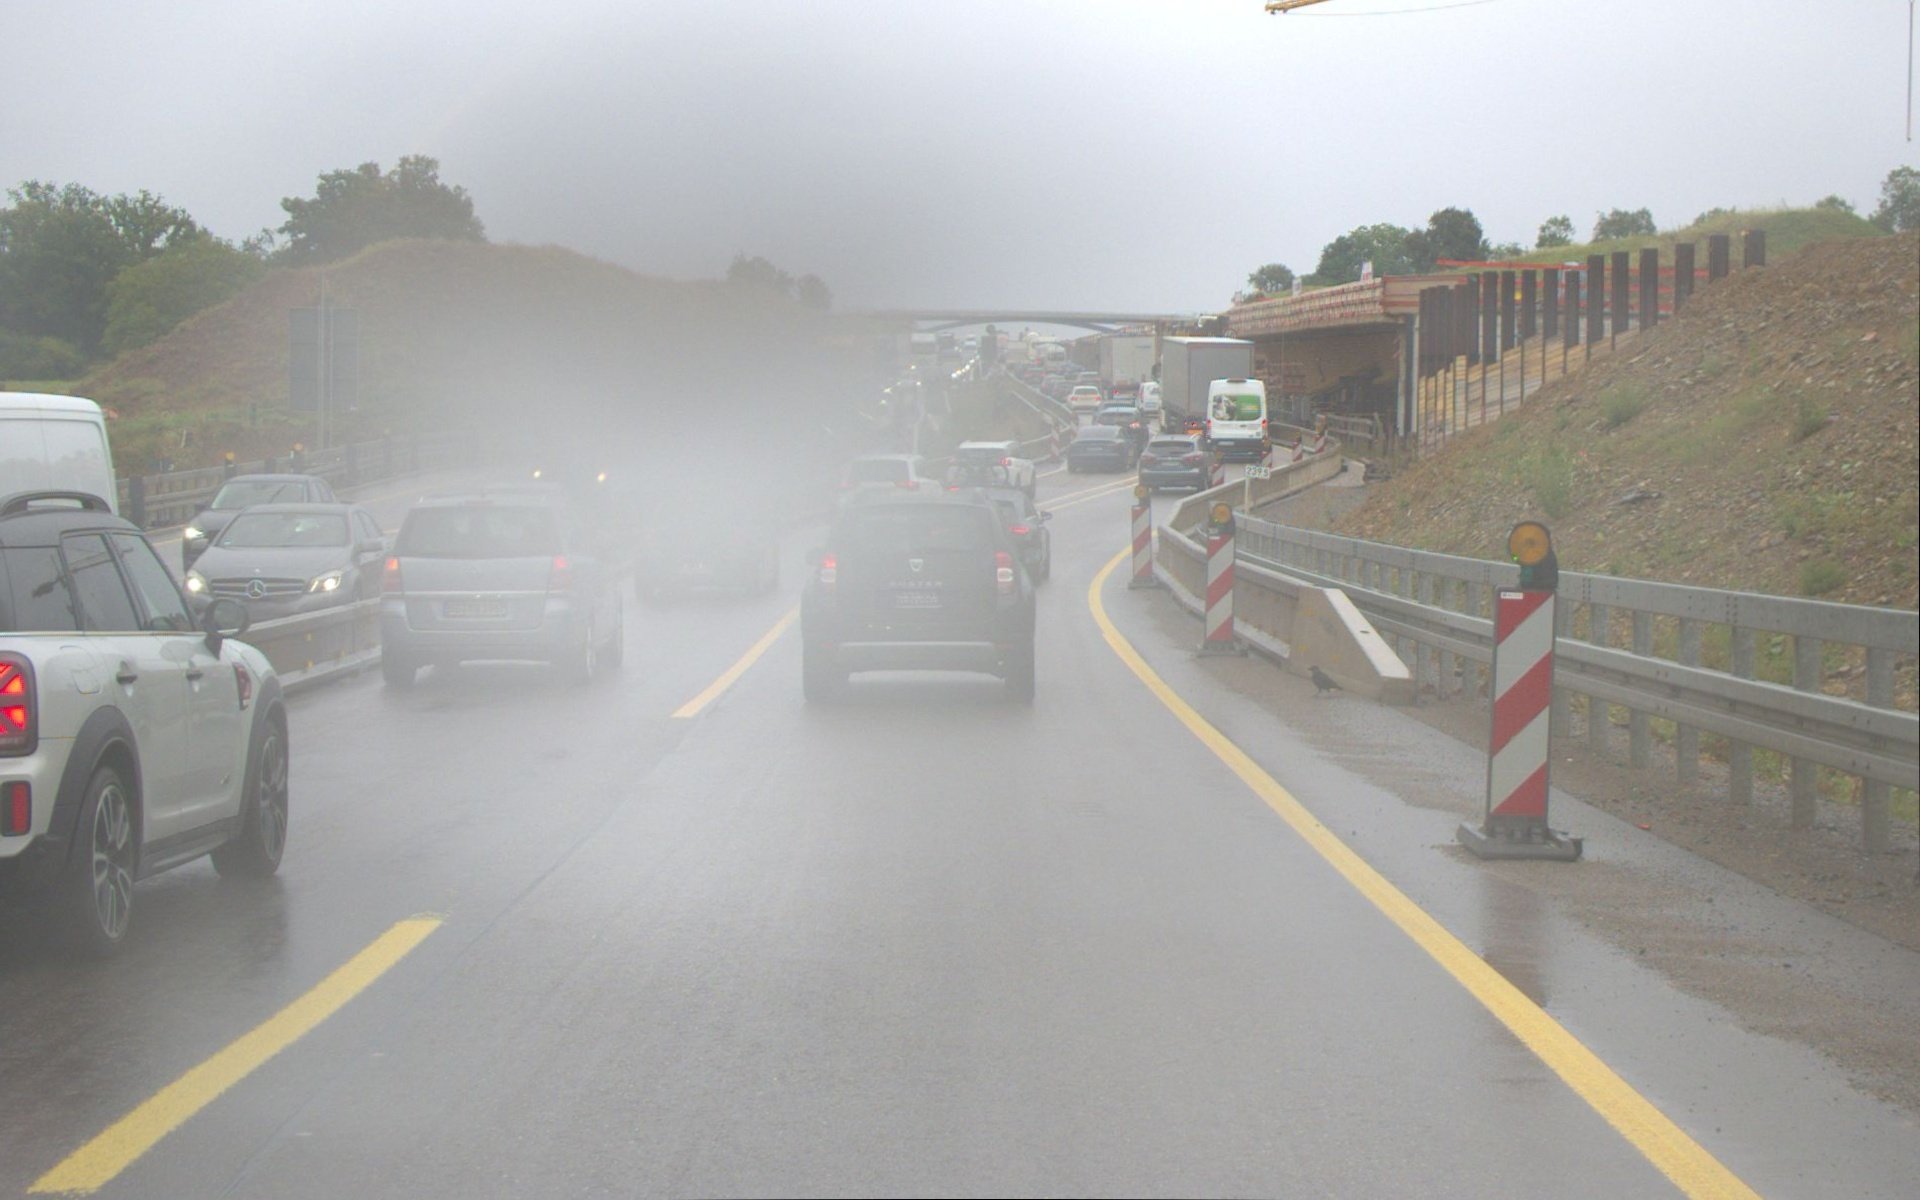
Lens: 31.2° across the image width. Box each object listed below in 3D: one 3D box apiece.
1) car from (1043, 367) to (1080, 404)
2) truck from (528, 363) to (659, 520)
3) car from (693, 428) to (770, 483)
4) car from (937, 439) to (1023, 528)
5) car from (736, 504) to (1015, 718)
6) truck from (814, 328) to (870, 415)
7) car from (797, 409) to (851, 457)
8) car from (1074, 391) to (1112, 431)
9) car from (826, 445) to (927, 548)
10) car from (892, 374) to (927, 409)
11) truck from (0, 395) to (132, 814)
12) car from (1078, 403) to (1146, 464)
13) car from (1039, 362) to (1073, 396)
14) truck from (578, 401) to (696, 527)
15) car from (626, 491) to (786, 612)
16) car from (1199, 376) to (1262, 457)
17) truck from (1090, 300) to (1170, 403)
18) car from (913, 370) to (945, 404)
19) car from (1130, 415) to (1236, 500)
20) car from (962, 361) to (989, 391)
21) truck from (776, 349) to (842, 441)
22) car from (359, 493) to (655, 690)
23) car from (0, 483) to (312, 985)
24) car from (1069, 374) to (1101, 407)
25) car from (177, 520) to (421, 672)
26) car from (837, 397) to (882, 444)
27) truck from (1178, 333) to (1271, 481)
[{"bbox_3d":[5.758,-12.158,195.082,1.993,2.006,4.001,0,2,0],"label":"car"},{"bbox_3d":[-9.645,-4.226,91.380,2.641,3.956,9.215,0,3,-1],"label":"truck"},{"bbox_3d":[-6.168,-3.921,93.213,1.868,1.466,4.671,0,2,-1],"label":"car"},{"bbox_3d":[0.540,-2.936,87.595,1.994,2.155,4.140,0,0,3],"label":"car"},{"bbox_3d":[-0.606,0.068,27.785,2.081,1.595,4.140,0,0,1],"label":"car"},{"bbox_3d":[-7.676,-14.799,223.833,3.142,5.399,8.524,1,2,1],"label":"truck"},{"bbox_3d":[-5.005,-6.166,126.951,1.737,1.678,5.553,1,3,0],"label":"car"},{"bbox_3d":[6.880,-9.774,178.191,1.849,1.887,4.021,0,0,1],"label":"car"},{"bbox_3d":[-1.688,-2.098,70.619,1.993,2.007,3.894,0,0,-1],"label":"car"},{"bbox_3d":[-3.454,-14.409,237.771,2.238,2.350,4.877,1,2,1],"label":"car"},{"bbox_3d":[-6.910,0.021,21.467,2.078,2.567,5.962,0,0,0],"label":"truck"},{"bbox_3d":[4.722,-5.196,107.480,1.993,1.755,3.815,0,0,1],"label":"car"},{"bbox_3d":[6.112,-14.048,218.827,1.993,2.006,4.001,0,2,0],"label":"car"},{"bbox_3d":[-7.217,-3.054,77.345,2.147,2.704,6.017,0,2,-1],"label":"truck"},{"bbox_3d":[-3.468,-0.652,47.603,1.993,1.595,4.141,0,0,-1],"label":"car"},{"bbox_3d":[9.085,-6.129,115.187,1.994,2.476,4.981,0,0,6],"label":"car"},{"bbox_3d":[9.686,-14.141,197.067,3.804,5.025,12.922,0,0,0],"label":"truck"},{"bbox_3d":[-2.274,-15.572,251.823,2.217,2.362,4.664,1,2,1],"label":"car"},{"bbox_3d":[6.024,-3.812,92.610,1.995,2.155,4.137,0,0,16],"label":"car"},{"bbox_3d":[1.168,-17.003,260.958,1.993,2.007,4.000,0,0,0],"label":"car"},{"bbox_3d":[-8.351,-11.376,191.506,3.083,4.902,8.565,1,2,1],"label":"truck"},{"bbox_3d":[-3.872,-0.085,30.057,1.993,1.595,4.140,0,0,1],"label":"car"},{"bbox_3d":[-3.741,0.386,13.044,1.816,1.595,4.308,0,1,-1],"label":"car"},{"bbox_3d":[8.534,-14.263,234.263,1.993,2.007,4.000,0,0,-1],"label":"car"},{"bbox_3d":[-7.013,-0.084,36.892,1.787,1.533,4.312,0,1,0],"label":"car"},{"bbox_3d":[-4.288,-7.677,147.027,1.785,1.803,4.499,0,0,0],"label":"car"},{"bbox_3d":[10.581,-7.557,136.669,3.102,5.407,9.440,0,0,8],"label":"truck"}]
